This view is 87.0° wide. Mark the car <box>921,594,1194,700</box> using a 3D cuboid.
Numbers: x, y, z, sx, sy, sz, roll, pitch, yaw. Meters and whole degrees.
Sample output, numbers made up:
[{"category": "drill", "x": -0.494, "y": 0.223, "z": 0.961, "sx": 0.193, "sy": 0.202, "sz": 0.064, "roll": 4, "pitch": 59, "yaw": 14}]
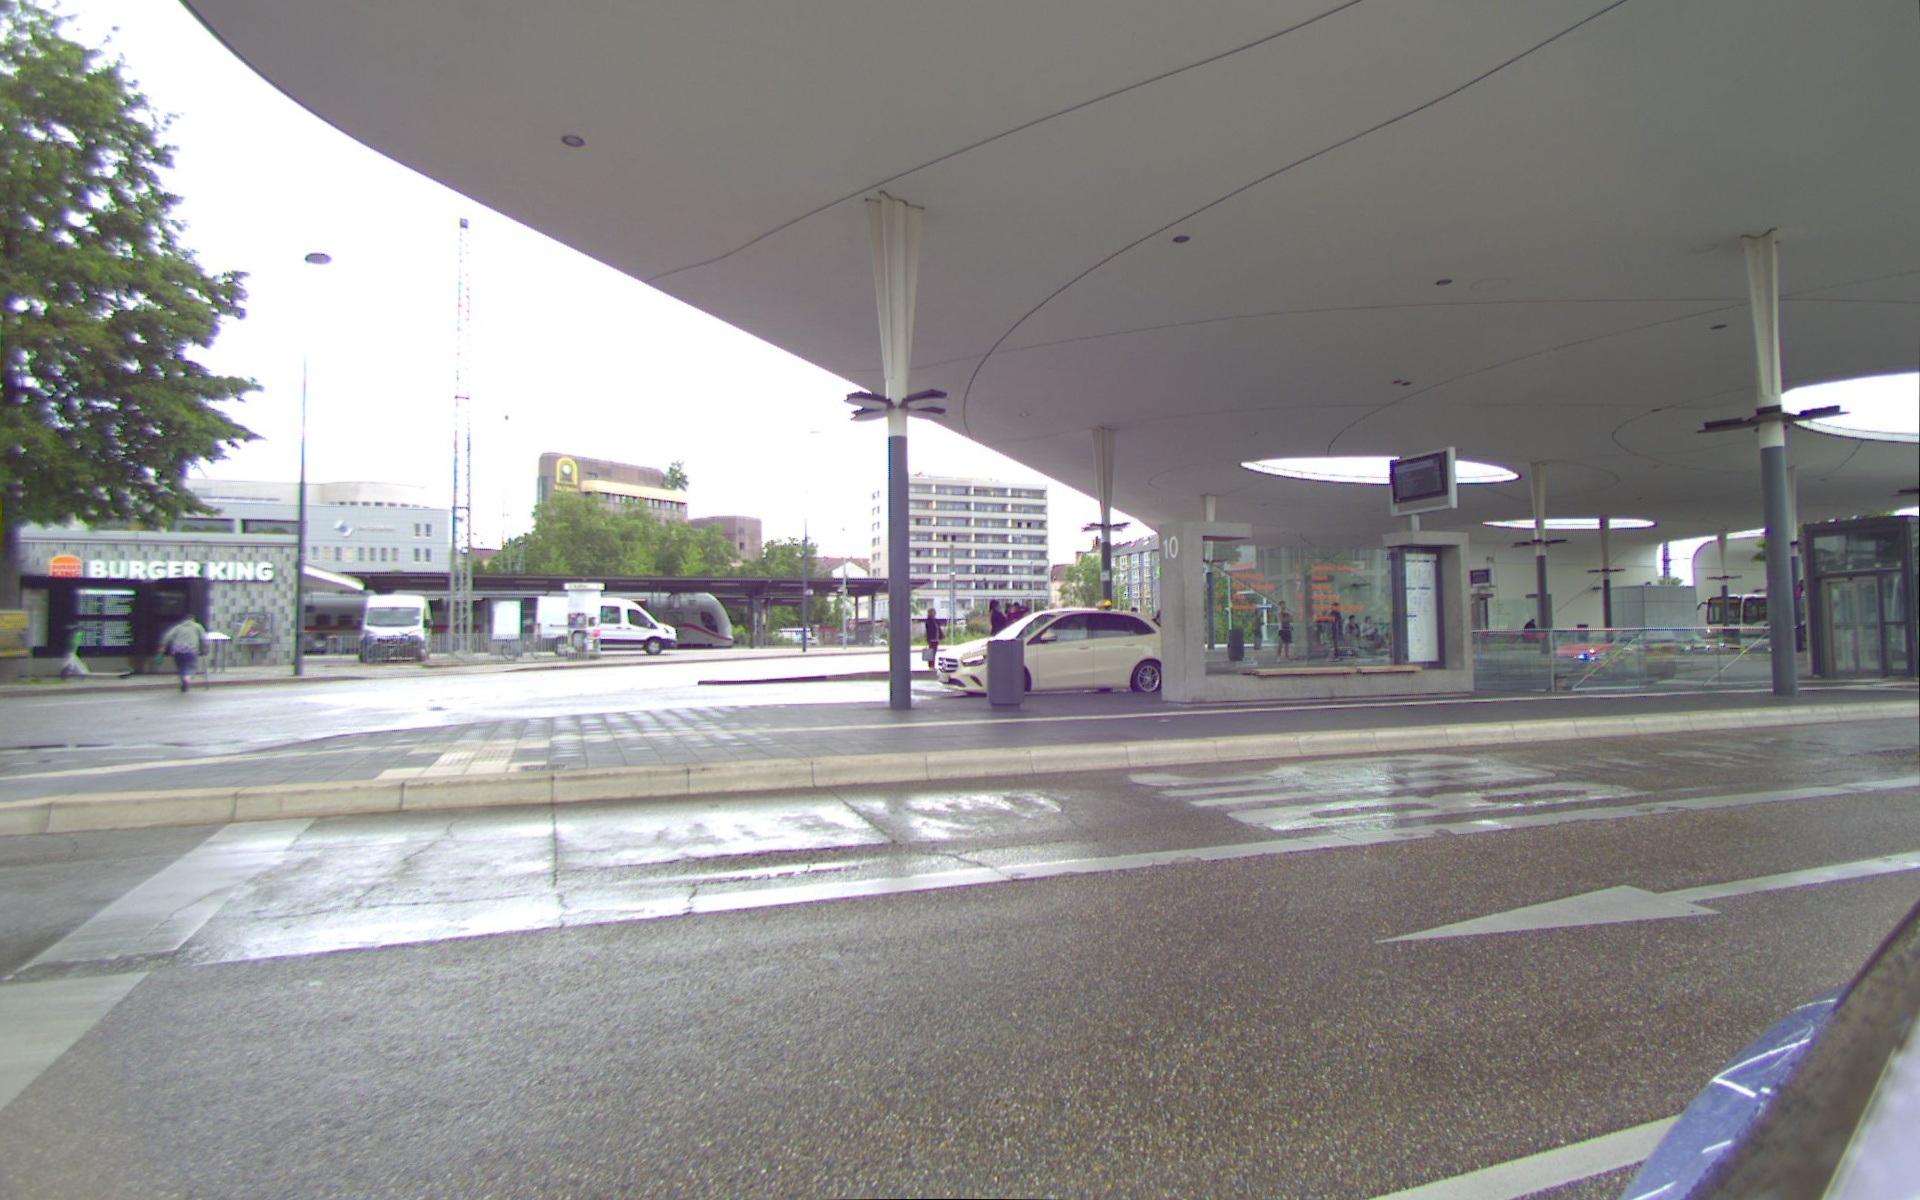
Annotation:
[{"category": "car", "x": 1.723, "y": 0.759, "z": 18.150, "sx": 4.446, "sy": 1.702, "sz": 2.004, "roll": 0, "pitch": 0, "yaw": -21}]

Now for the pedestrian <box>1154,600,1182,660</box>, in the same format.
[{"category": "pedestrian", "x": 5.426, "y": 0.779, "z": 26.409, "sx": 0.524, "sy": 1.533, "sz": 0.480, "roll": 0, "pitch": -1, "yaw": -17}]

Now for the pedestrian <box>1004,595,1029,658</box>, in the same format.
[{"category": "pedestrian", "x": 1.392, "y": 0.644, "z": 24.992, "sx": 0.469, "sy": 1.533, "sz": 0.536, "roll": 0, "pitch": -1, "yaw": -16}]

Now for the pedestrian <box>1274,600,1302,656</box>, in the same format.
[{"category": "pedestrian", "x": 9.016, "y": 0.759, "z": 27.832, "sx": 0.524, "sy": 1.533, "sz": 0.480, "roll": 0, "pitch": -1, "yaw": -17}]

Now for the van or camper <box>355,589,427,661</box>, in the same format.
[{"category": "van or camper", "x": -21.340, "y": 0.839, "z": 38.148, "sx": 2.121, "sy": 2.464, "sz": 5.872, "roll": 0, "pitch": 0, "yaw": -27}]

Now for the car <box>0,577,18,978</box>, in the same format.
[{"category": "car", "x": -5.609, "y": 0.671, "z": 2.697, "sx": 4.361, "sy": 1.484, "sz": 1.702, "roll": 0, "pitch": 0, "yaw": -8}]

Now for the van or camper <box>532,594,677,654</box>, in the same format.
[{"category": "van or camper", "x": -15.154, "y": 0.970, "z": 43.278, "sx": 5.741, "sy": 2.464, "sz": 2.004, "roll": 0, "pitch": 0, "yaw": -21}]

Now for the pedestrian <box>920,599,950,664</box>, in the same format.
[{"category": "pedestrian", "x": -0.644, "y": 0.796, "z": 25.922, "sx": 0.726, "sy": 1.615, "sz": 0.643, "roll": 0, "pitch": 0, "yaw": -6}]

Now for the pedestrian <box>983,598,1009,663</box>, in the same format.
[{"category": "pedestrian", "x": 0.859, "y": 0.720, "z": 24.345, "sx": 0.469, "sy": 1.533, "sz": 0.536, "roll": 0, "pitch": -1, "yaw": -16}]

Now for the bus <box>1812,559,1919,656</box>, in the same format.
[{"category": "bus", "x": 35.637, "y": 0.191, "z": 35.947, "sx": 11.671, "sy": 3.121, "sz": 2.884, "roll": 0, "pitch": 0, "yaw": -21}]

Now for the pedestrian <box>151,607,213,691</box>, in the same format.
[{"category": "pedestrian", "x": -14.904, "y": 0.921, "z": 19.396, "sx": 0.634, "sy": 1.549, "sz": 0.828, "roll": 0, "pitch": 0, "yaw": 39}]

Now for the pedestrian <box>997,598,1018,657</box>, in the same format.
[{"category": "pedestrian", "x": 1.275, "y": 0.725, "z": 26.979, "sx": 0.472, "sy": 1.533, "sz": 0.533, "roll": 0, "pitch": -1, "yaw": 14}]

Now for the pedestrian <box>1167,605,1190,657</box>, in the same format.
[{"category": "pedestrian", "x": 6.514, "y": 0.927, "z": 30.195, "sx": 0.514, "sy": 1.533, "sz": 0.480, "roll": 0, "pitch": -1, "yaw": -17}]

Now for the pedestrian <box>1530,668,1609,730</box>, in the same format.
[{"category": "pedestrian", "x": 11.577, "y": 1.866, "z": 19.241, "sx": 0.938, "sy": 1.068, "sz": 0.885, "roll": 0, "pitch": 0, "yaw": -18}]

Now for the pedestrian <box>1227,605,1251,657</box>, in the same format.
[{"category": "pedestrian", "x": 8.328, "y": 0.911, "z": 30.242, "sx": 0.514, "sy": 1.533, "sz": 0.480, "roll": 0, "pitch": -1, "yaw": -17}]

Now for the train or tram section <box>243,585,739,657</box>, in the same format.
[{"category": "train or tram section", "x": -29.411, "y": 1.154, "z": 66.567, "sx": 28.693, "sy": 4.235, "sz": 4.615, "roll": 0, "pitch": 0, "yaw": -21}]

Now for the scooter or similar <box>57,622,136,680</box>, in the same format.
[{"category": "scooter or similar", "x": -18.970, "y": 1.103, "z": 22.256, "sx": 0.331, "sy": 1.197, "sz": 1.287, "roll": 0, "pitch": 0, "yaw": 36}]
